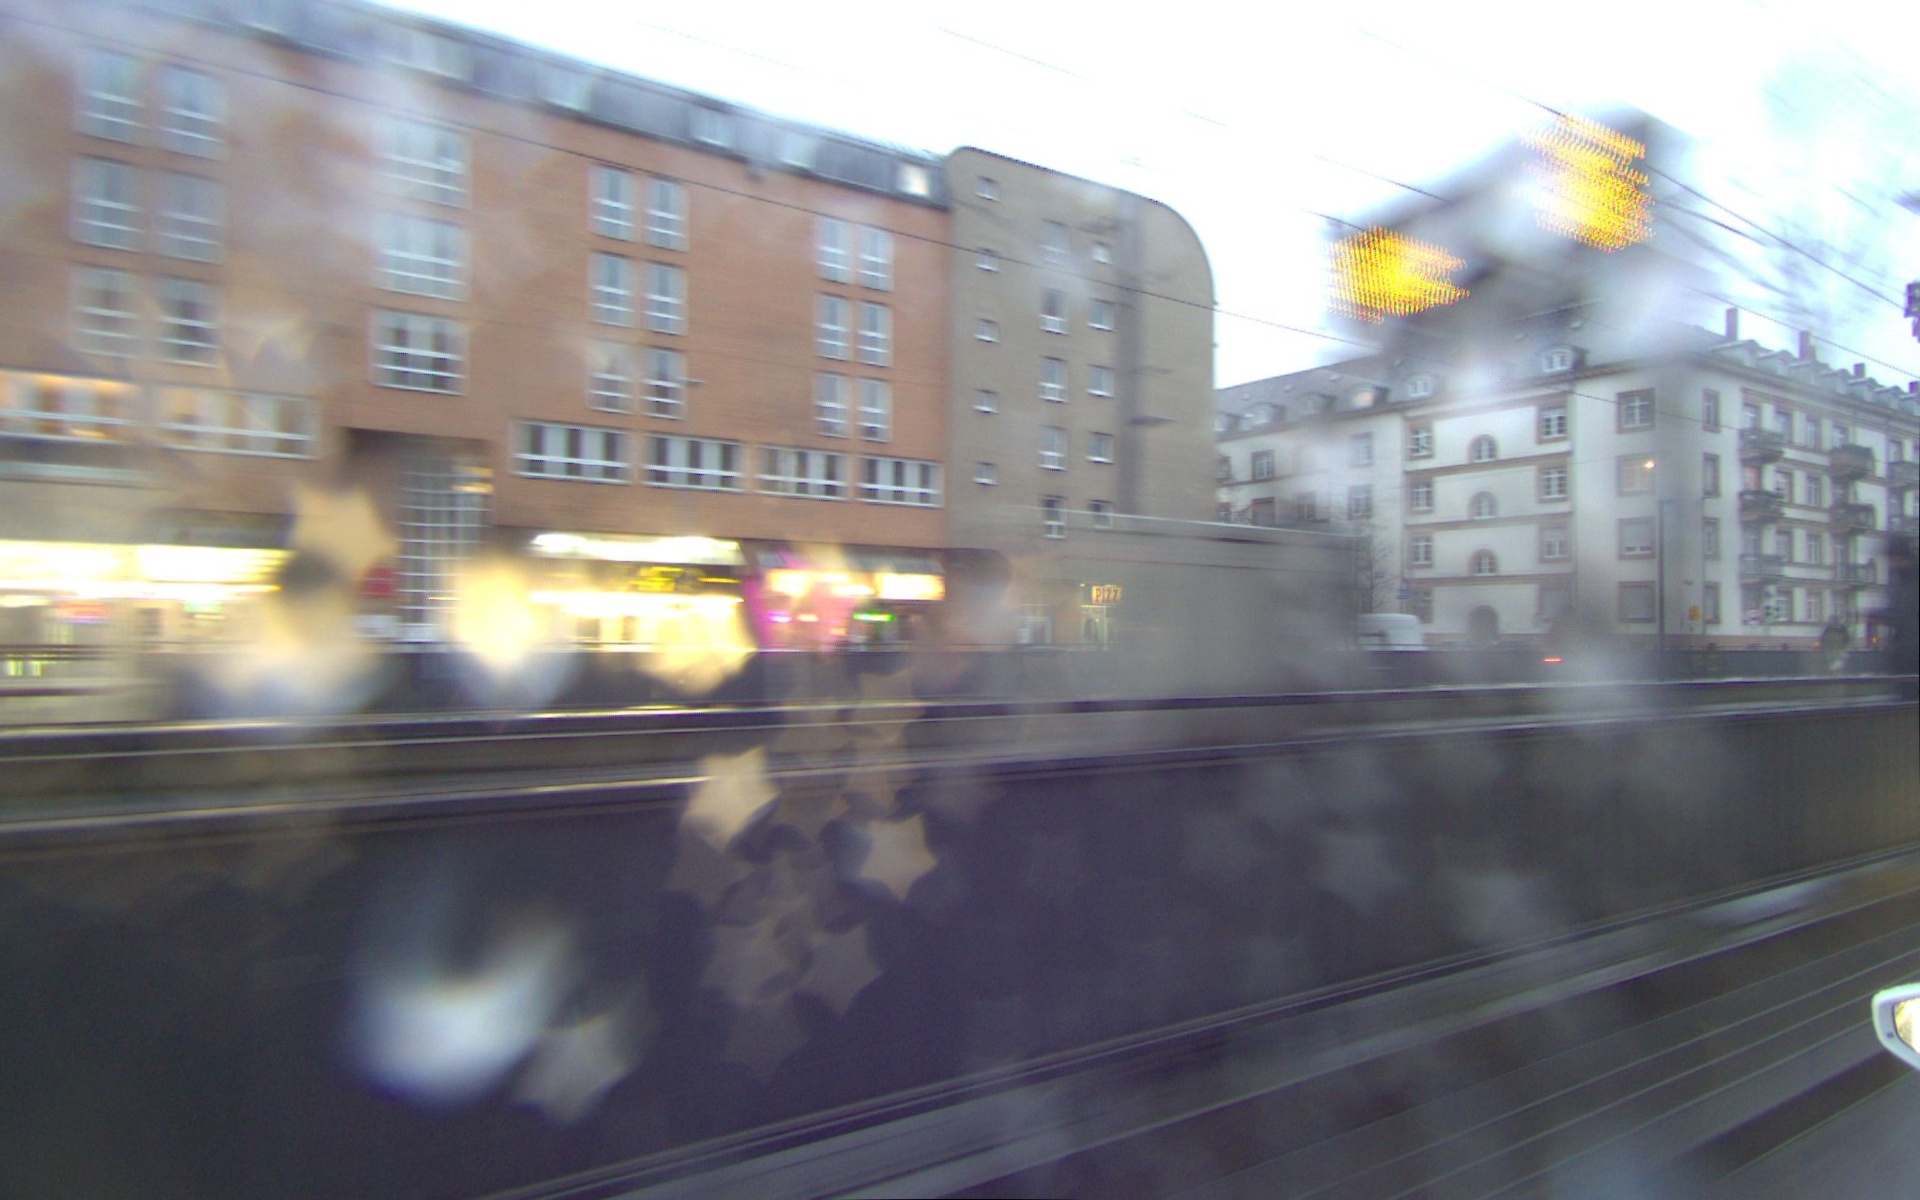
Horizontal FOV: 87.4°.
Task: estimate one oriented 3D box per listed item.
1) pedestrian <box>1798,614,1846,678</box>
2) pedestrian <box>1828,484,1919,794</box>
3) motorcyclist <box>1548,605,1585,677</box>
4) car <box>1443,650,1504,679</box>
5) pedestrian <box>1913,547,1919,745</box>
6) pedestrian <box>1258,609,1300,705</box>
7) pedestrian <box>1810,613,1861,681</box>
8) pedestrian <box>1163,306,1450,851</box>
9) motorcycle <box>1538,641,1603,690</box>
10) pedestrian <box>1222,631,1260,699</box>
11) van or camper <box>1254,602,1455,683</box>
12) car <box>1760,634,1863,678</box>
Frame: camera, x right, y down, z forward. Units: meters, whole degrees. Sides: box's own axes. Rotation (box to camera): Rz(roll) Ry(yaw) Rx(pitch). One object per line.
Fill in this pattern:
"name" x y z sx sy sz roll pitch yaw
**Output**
"pedestrian" 24.862 1.304 28.975 0.782 1.803 0.823 1 0 19
"pedestrian" 6.431 0.253 6.644 0.795 1.973 0.806 1 -1 -29
"motorcyclist" 13.084 0.876 21.675 0.551 1.515 0.495 1 0 -35
"car" 26.574 3.324 51.989 3.282 1.443 1.445 1 -3 -35
"pedestrian" 10.888 0.496 10.760 0.796 2.138 0.805 1 -2 -33
"pedestrian" 5.302 0.931 16.703 0.624 1.544 0.756 1 0 19
"pedestrian" 23.973 1.271 27.525 0.782 1.803 0.823 1 0 19
"pedestrian" 1.291 -0.060 3.725 0.767 1.726 0.769 0 -1 42
"motorcycle" 13.280 1.402 21.836 1.788 1.021 0.509 2 0 -34
"pedestrian" 4.797 1.098 17.166 0.596 1.117 0.592 1 0 15
"van or camper" 14.181 1.491 36.118 6.656 2.718 2.768 1 0 -22
"car" 28.966 1.880 34.157 3.505 1.372 1.673 2 -1 -31
